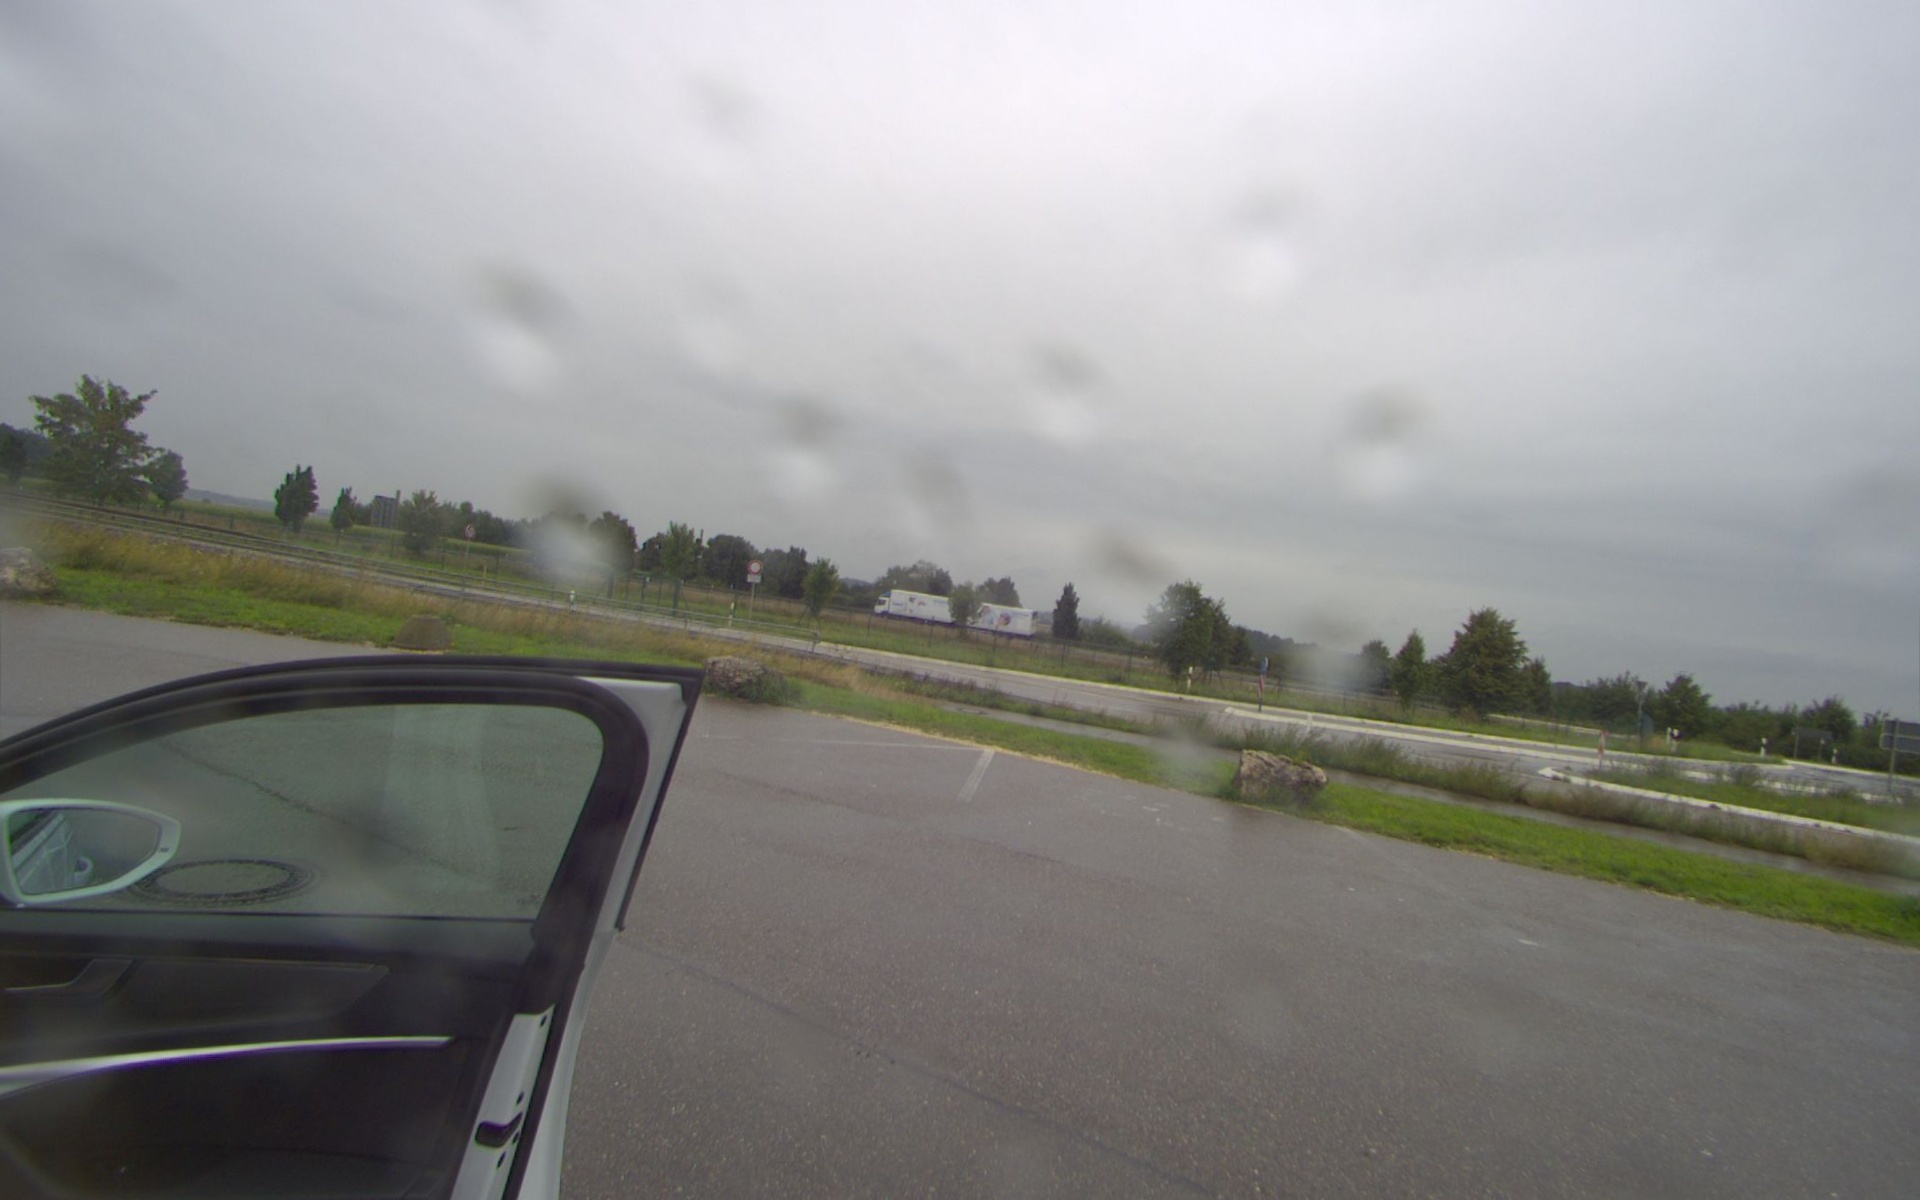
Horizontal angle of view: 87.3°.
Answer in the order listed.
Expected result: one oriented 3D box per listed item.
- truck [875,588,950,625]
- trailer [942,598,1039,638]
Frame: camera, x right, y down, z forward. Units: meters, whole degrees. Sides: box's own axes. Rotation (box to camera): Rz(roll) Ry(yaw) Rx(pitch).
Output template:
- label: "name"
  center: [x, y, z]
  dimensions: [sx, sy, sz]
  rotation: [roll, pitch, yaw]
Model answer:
- label: "truck"
  center: [-5.255, 0.685, 111.257]
  dimensions: [7.643, 2.942, 2.186]
  rotation: [8, -1, 12]
- label: "trailer"
  center: [3.285, 1.953, 109.086]
  dimensions: [9.951, 2.936, 2.209]
  rotation: [8, -1, 16]
